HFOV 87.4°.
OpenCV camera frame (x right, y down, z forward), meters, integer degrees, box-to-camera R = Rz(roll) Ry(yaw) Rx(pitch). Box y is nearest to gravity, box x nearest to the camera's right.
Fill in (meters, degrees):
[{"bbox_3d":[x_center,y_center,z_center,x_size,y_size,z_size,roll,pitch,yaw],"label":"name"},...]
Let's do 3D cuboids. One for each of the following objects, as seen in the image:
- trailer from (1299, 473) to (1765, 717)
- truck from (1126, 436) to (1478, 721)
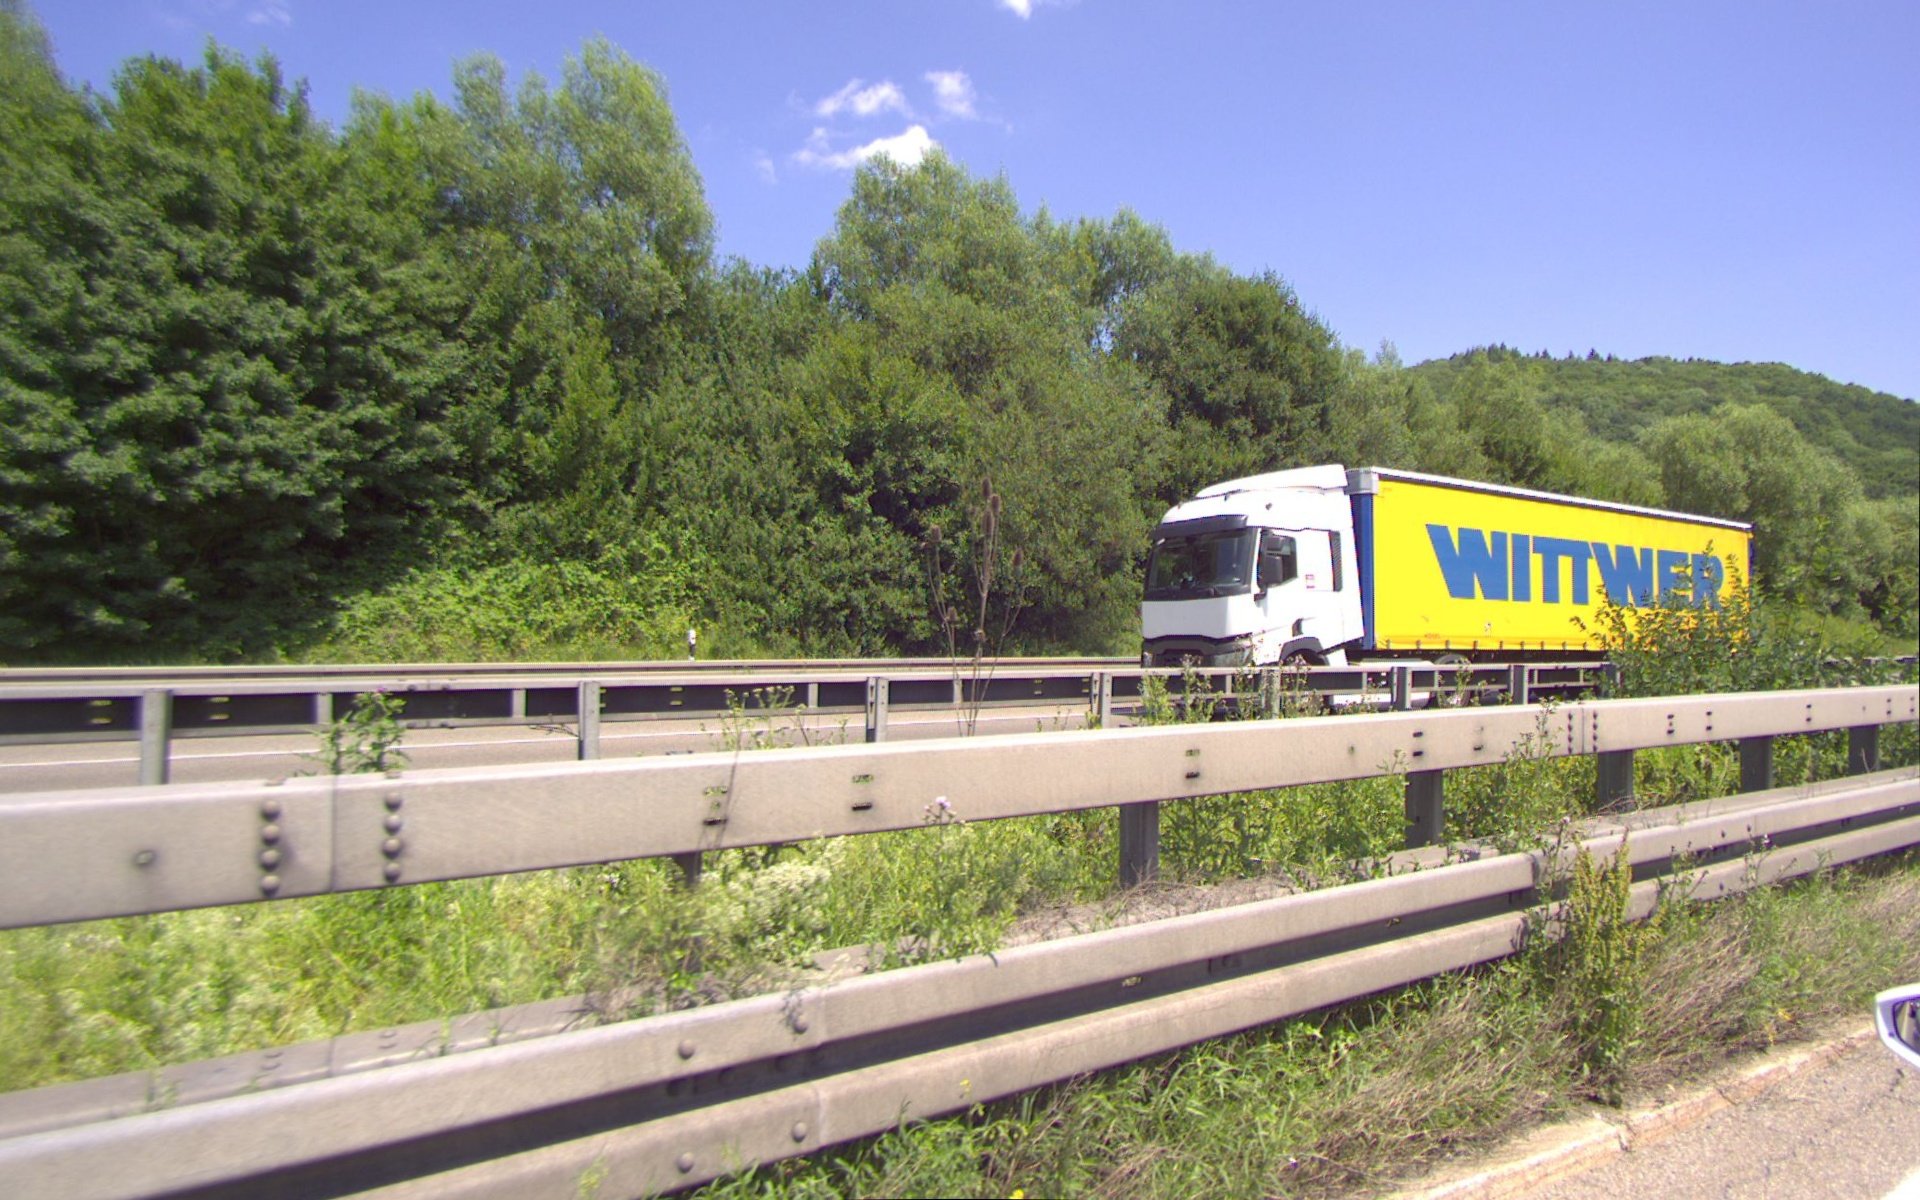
[{"bbox_3d":[12.432,0.050,20.997,12.453,4.058,2.568,2,0,-30],"label":"trailer"},{"bbox_3d":[5.902,-0.241,17.143,5.781,4.144,2.535,1,-1,-30],"label":"truck"}]
